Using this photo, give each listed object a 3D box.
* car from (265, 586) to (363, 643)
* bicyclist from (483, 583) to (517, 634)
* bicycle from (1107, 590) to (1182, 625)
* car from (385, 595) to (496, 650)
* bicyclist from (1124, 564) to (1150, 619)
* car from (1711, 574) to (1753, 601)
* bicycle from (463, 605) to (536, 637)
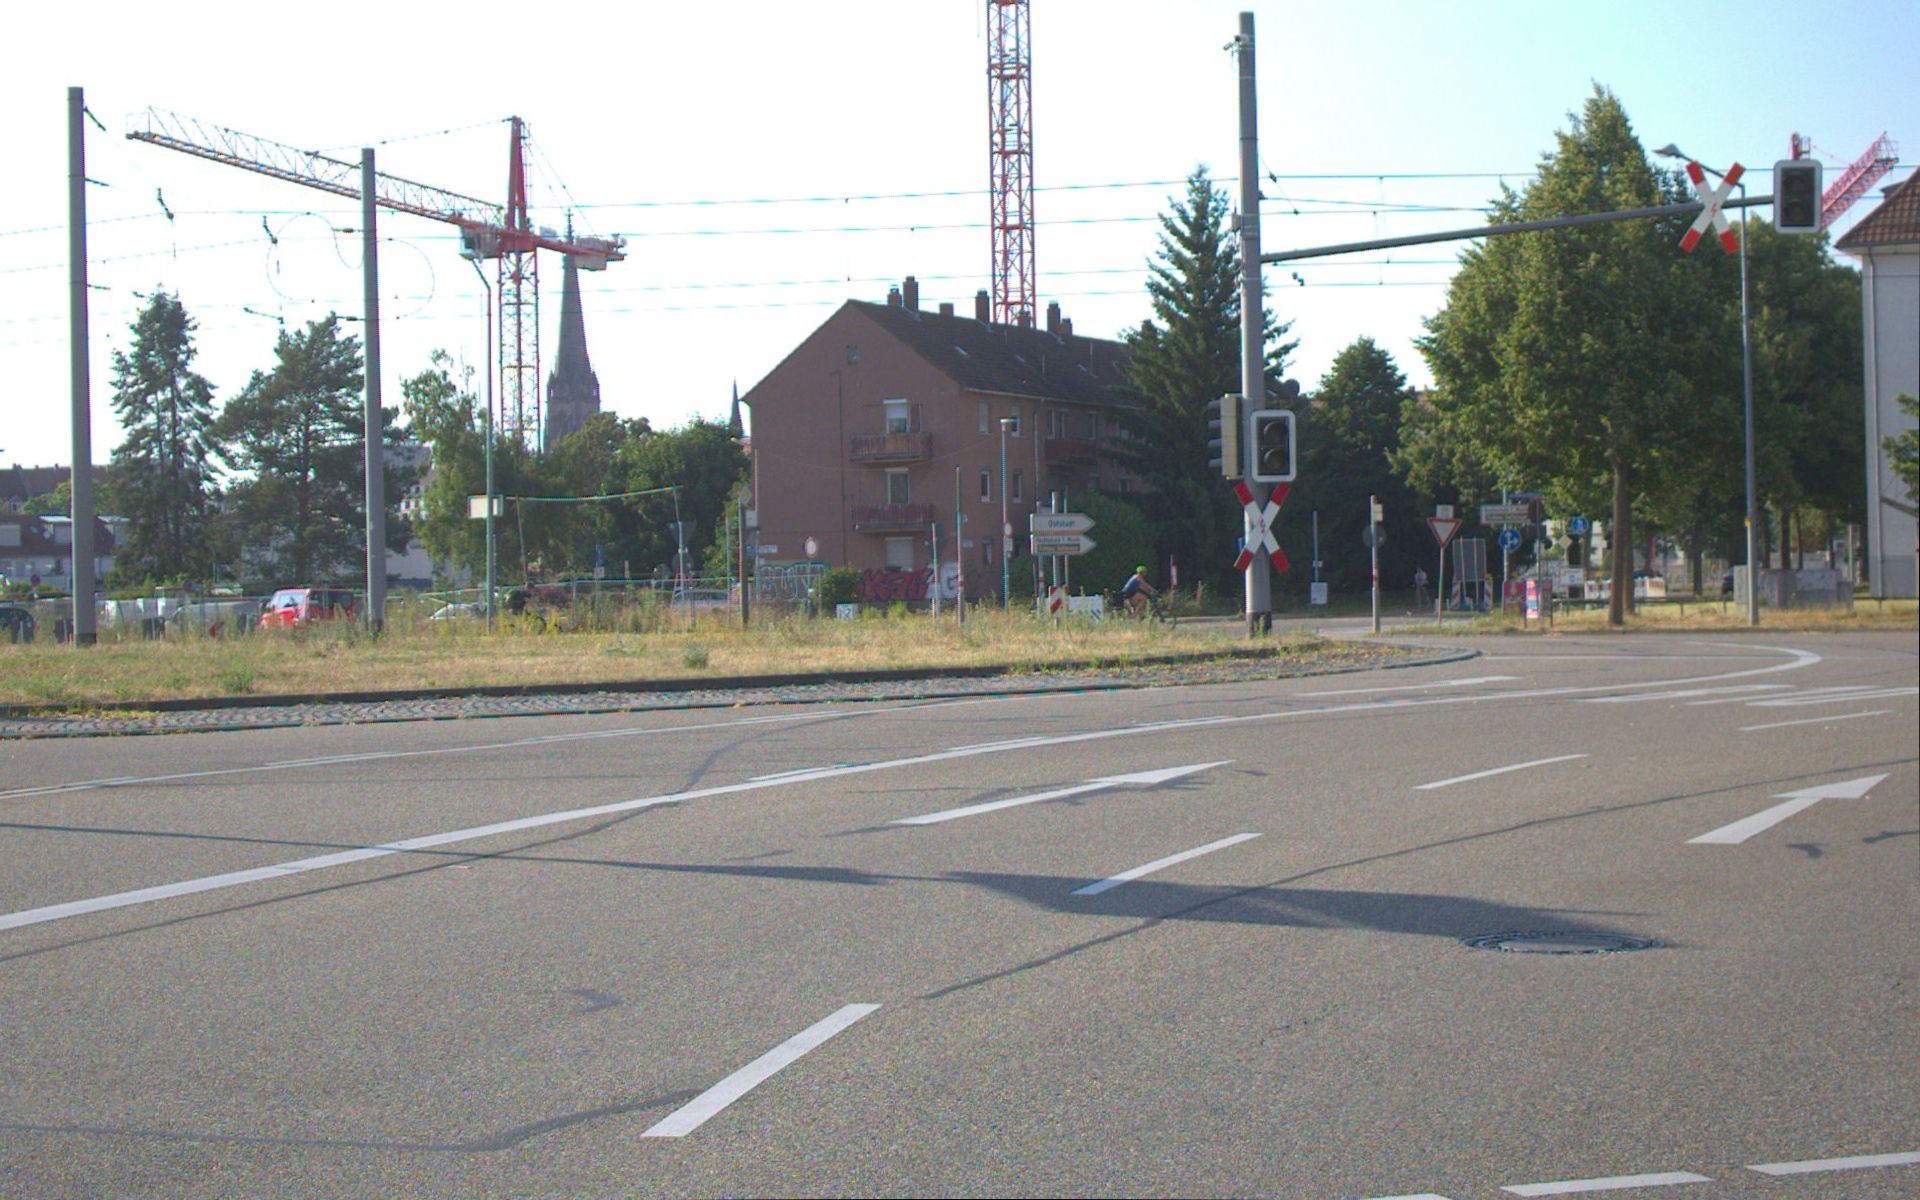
[{"bbox_3d":[-21.601,0.469,114.883,1.919,1.848,4.000,-1,1,-31],"label":"car"},{"bbox_3d":[-12.748,0.233,95.367,0.897,1.391,0.526,-1,0,-6],"label":"bicyclist"},{"bbox_3d":[5.065,0.202,94.439,1.987,0.915,0.430,-1,0,-6],"label":"bicycle"},{"bbox_3d":[-19.777,0.847,131.016,3.812,2.007,1.670,-1,0,18],"label":"car"},{"bbox_3d":[4.867,-0.236,94.411,0.622,1.506,0.419,-1,0,-6],"label":"bicyclist"},{"bbox_3d":[39.000,-0.646,173.651,1.457,1.295,3.544,-1,1,23],"label":"car"},{"bbox_3d":[-12.761,0.579,95.375,1.987,0.822,0.430,-1,0,-6],"label":"bicycle"}]
